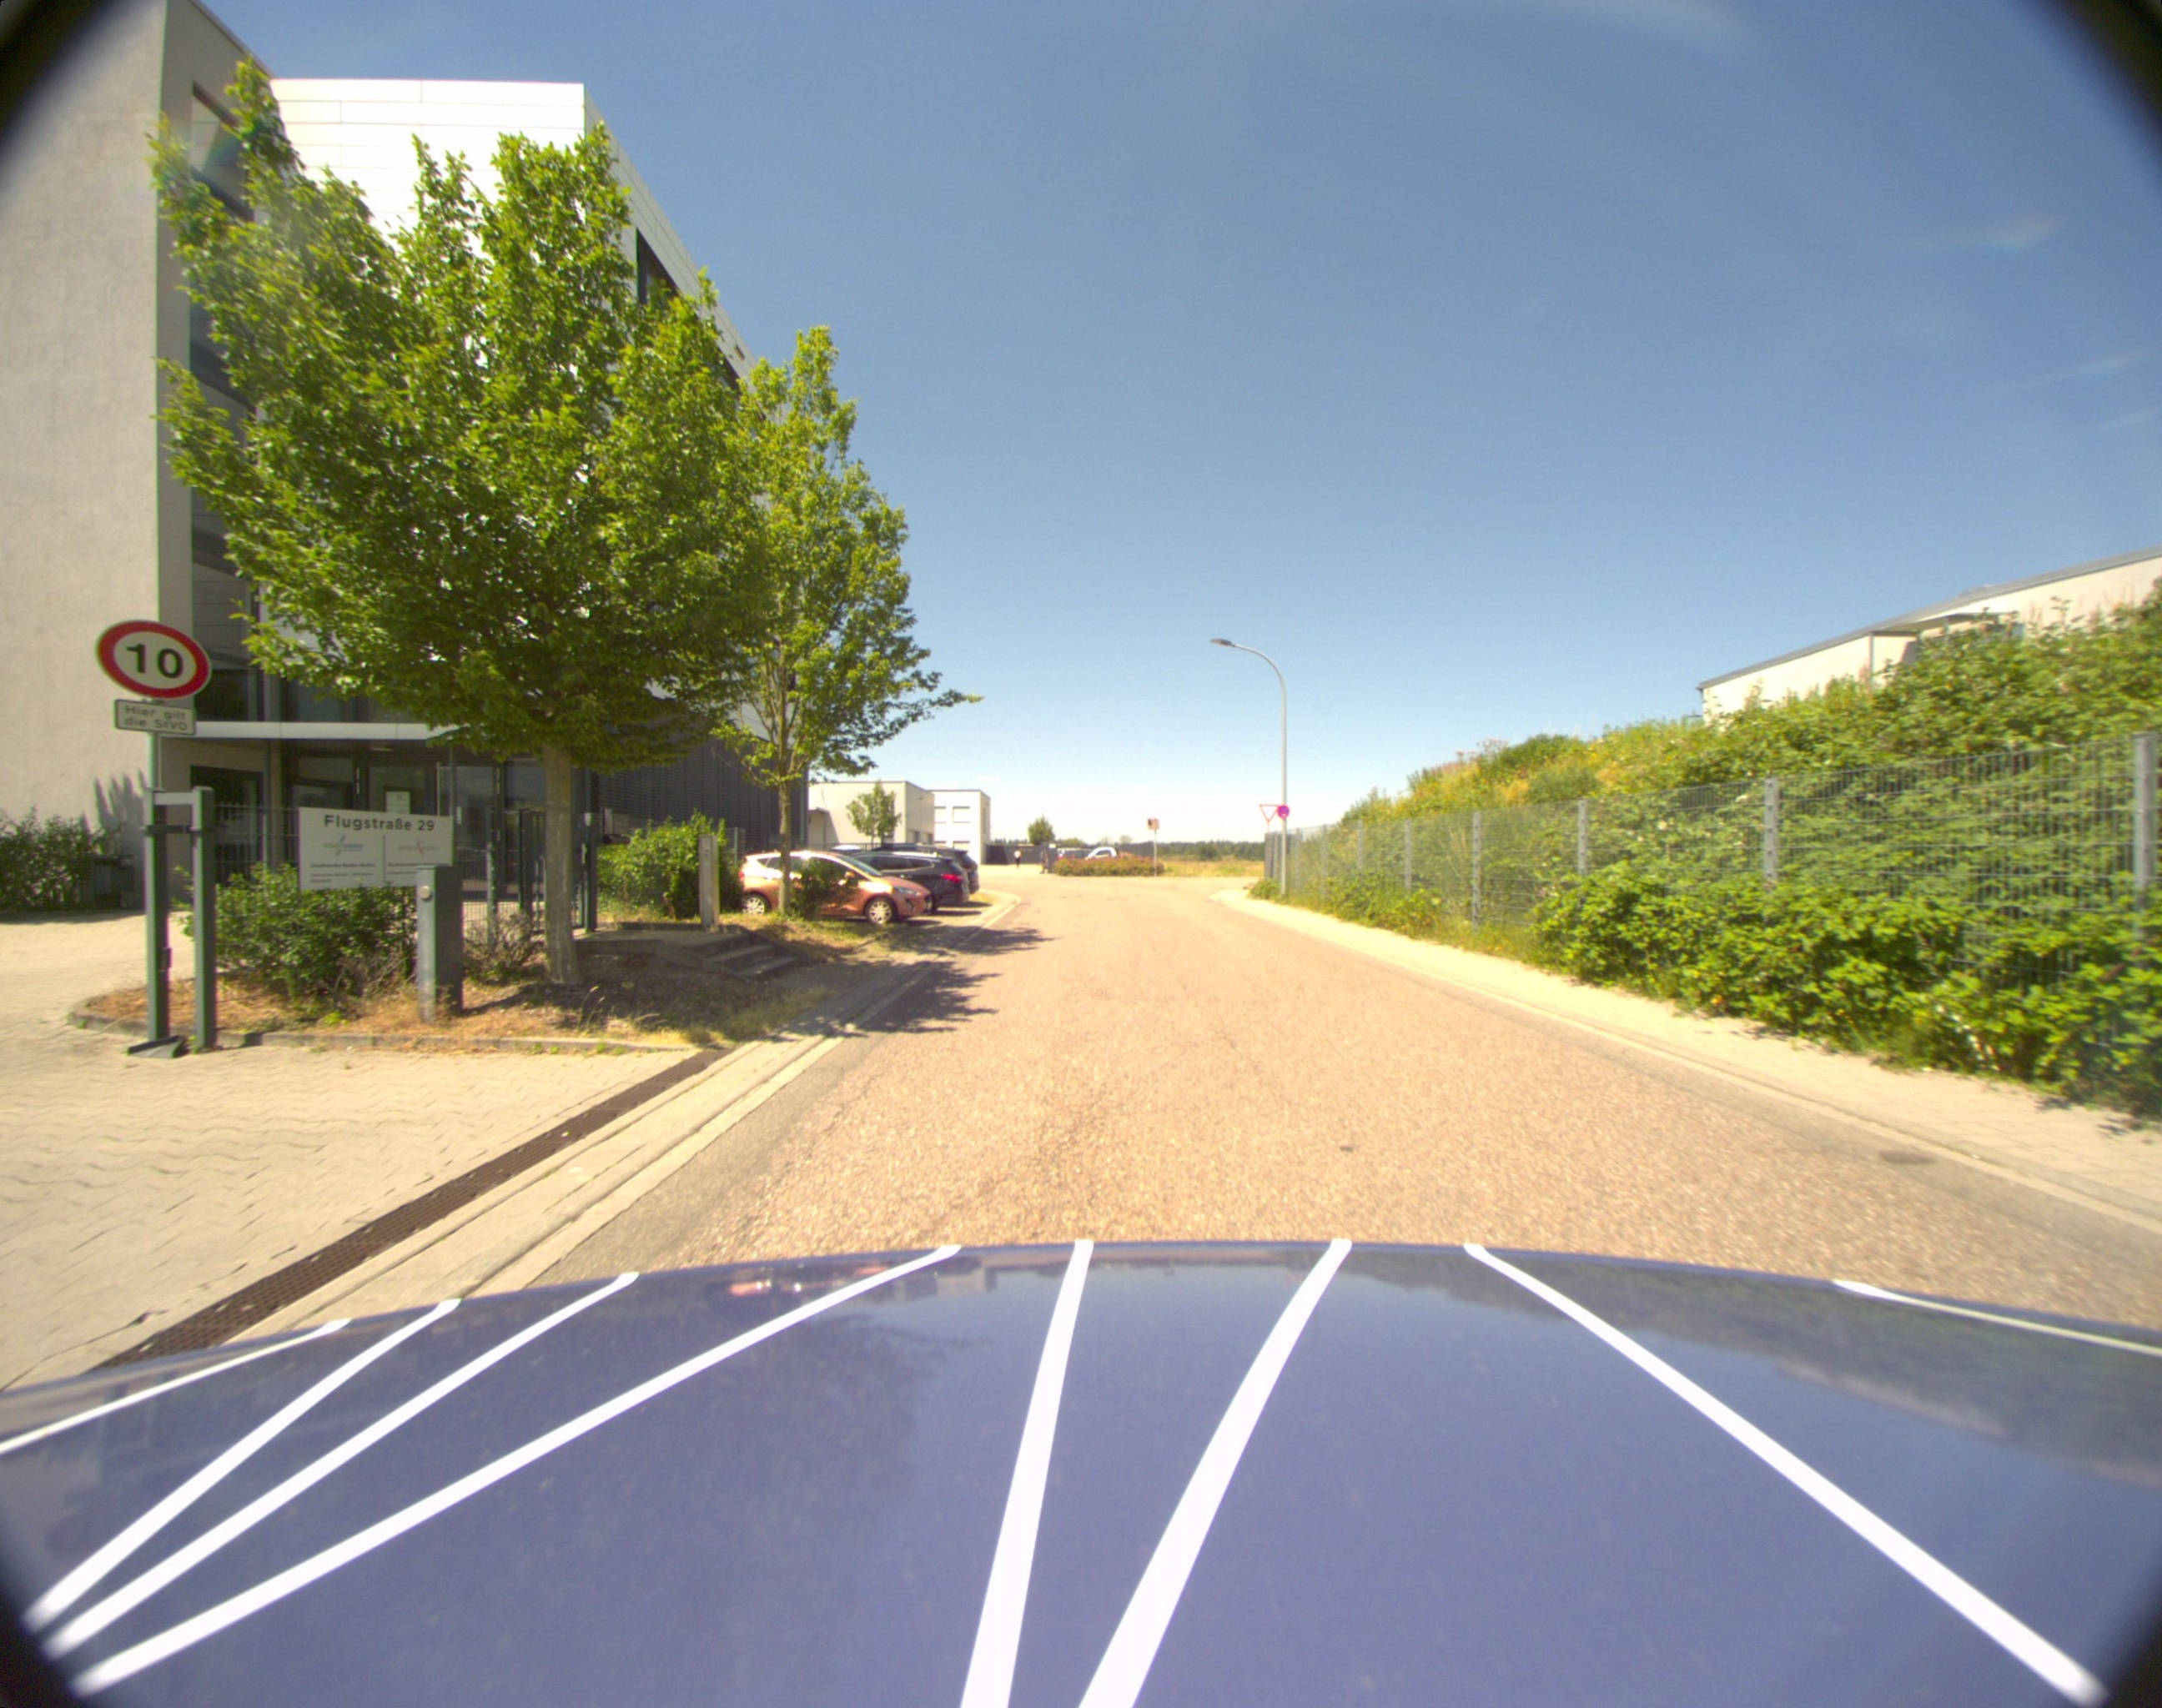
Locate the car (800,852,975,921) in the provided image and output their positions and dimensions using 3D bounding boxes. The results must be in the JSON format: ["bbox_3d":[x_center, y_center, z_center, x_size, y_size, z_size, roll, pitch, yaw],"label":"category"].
[{"bbox_3d":[-4.529,0.739,18.180,3.722,1.486,1.782,1,0,-2],"label":"car"}]

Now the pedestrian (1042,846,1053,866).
[{"bbox_3d":[-2.828,0.145,63.551,0.830,1.673,0.711,0,1,-9],"label":"pedestrian"}]

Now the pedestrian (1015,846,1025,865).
[{"bbox_3d":[-5.201,0.160,64.695,0.775,1.619,0.621,0,1,-15],"label":"pedestrian"}]

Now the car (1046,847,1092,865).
[{"bbox_3d":[-1.094,0.200,66.992,3.998,1.596,1.676,0,0,-3],"label":"car"}]

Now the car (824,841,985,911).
[{"bbox_3d":[-4.819,0.581,21.105,3.996,1.755,1.725,1,0,3],"label":"car"}]

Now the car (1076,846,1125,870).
[{"bbox_3d":[1.210,0.266,48.242,2.996,1.511,1.705,0,0,-3],"label":"car"}]

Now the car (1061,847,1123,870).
[{"bbox_3d":[0.709,0.293,50.425,3.998,1.532,1.830,0,0,-3],"label":"car"}]

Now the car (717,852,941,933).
[{"bbox_3d":[-5.043,0.752,15.606,3.998,1.486,1.724,1,0,-2],"label":"car"}]
